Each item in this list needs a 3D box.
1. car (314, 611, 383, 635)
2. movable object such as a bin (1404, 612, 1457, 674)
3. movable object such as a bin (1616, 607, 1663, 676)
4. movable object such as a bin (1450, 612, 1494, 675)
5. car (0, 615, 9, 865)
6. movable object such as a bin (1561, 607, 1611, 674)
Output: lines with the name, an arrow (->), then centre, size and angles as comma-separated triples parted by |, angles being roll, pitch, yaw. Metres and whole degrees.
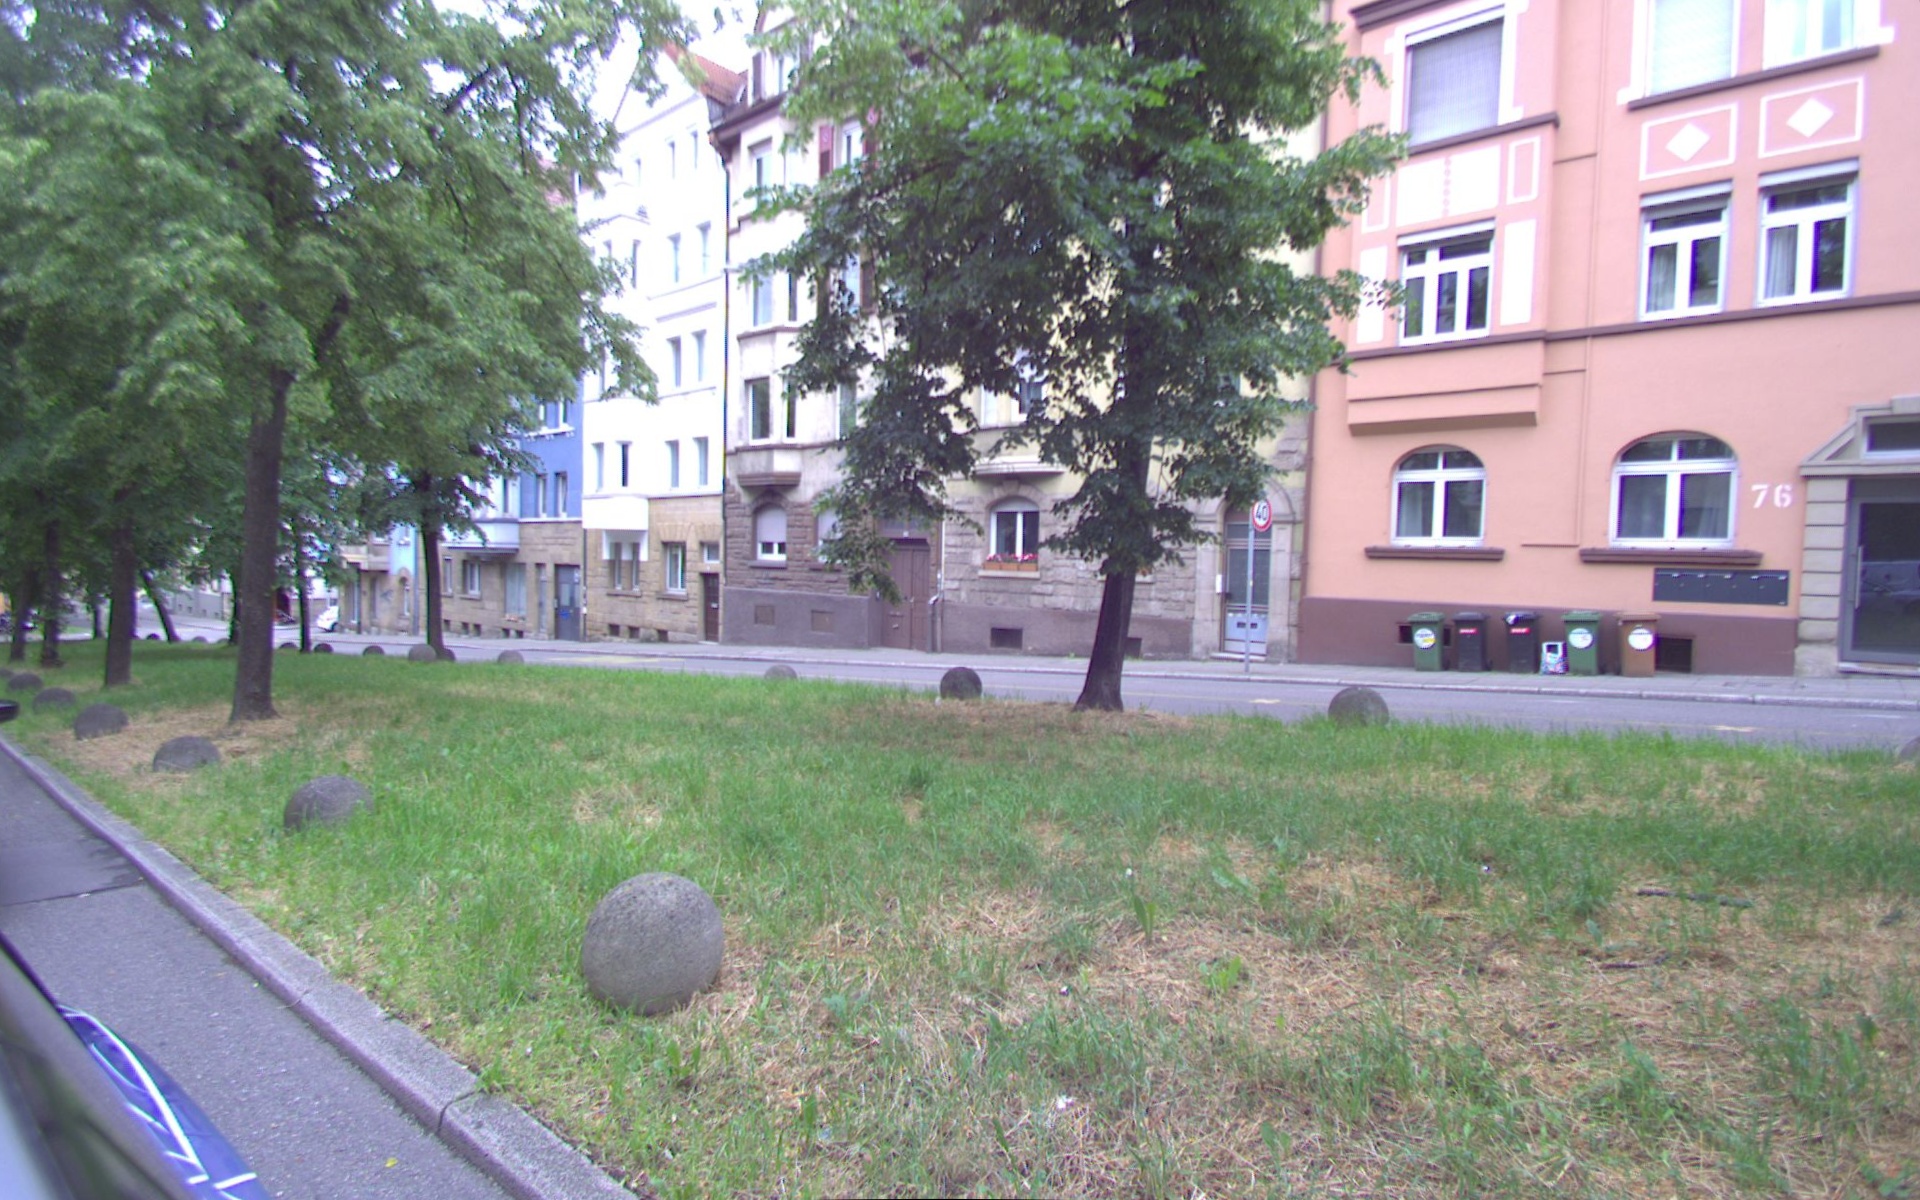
car -> -35.342, 1.313, 58.511 | 3.244, 1.341, 1.674 | -1, 0, -40
movable object such as a bin -> 7.525, 0.669, 16.186 | 0.617, 0.955, 0.610 | -1, 0, 40
movable object such as a bin -> 9.638, 0.573, 14.347 | 0.514, 0.928, 0.750 | -1, 0, 36
movable object such as a bin -> 7.998, 0.663, 15.814 | 0.531, 0.953, 0.575 | -1, 0, 35
car -> -6.024, 0.802, 5.001 | 3.295, 1.476, 1.590 | -1, -2, 41
movable object such as a bin -> 9.136, 0.580, 14.772 | 0.558, 0.928, 0.648 | -1, 0, 36
